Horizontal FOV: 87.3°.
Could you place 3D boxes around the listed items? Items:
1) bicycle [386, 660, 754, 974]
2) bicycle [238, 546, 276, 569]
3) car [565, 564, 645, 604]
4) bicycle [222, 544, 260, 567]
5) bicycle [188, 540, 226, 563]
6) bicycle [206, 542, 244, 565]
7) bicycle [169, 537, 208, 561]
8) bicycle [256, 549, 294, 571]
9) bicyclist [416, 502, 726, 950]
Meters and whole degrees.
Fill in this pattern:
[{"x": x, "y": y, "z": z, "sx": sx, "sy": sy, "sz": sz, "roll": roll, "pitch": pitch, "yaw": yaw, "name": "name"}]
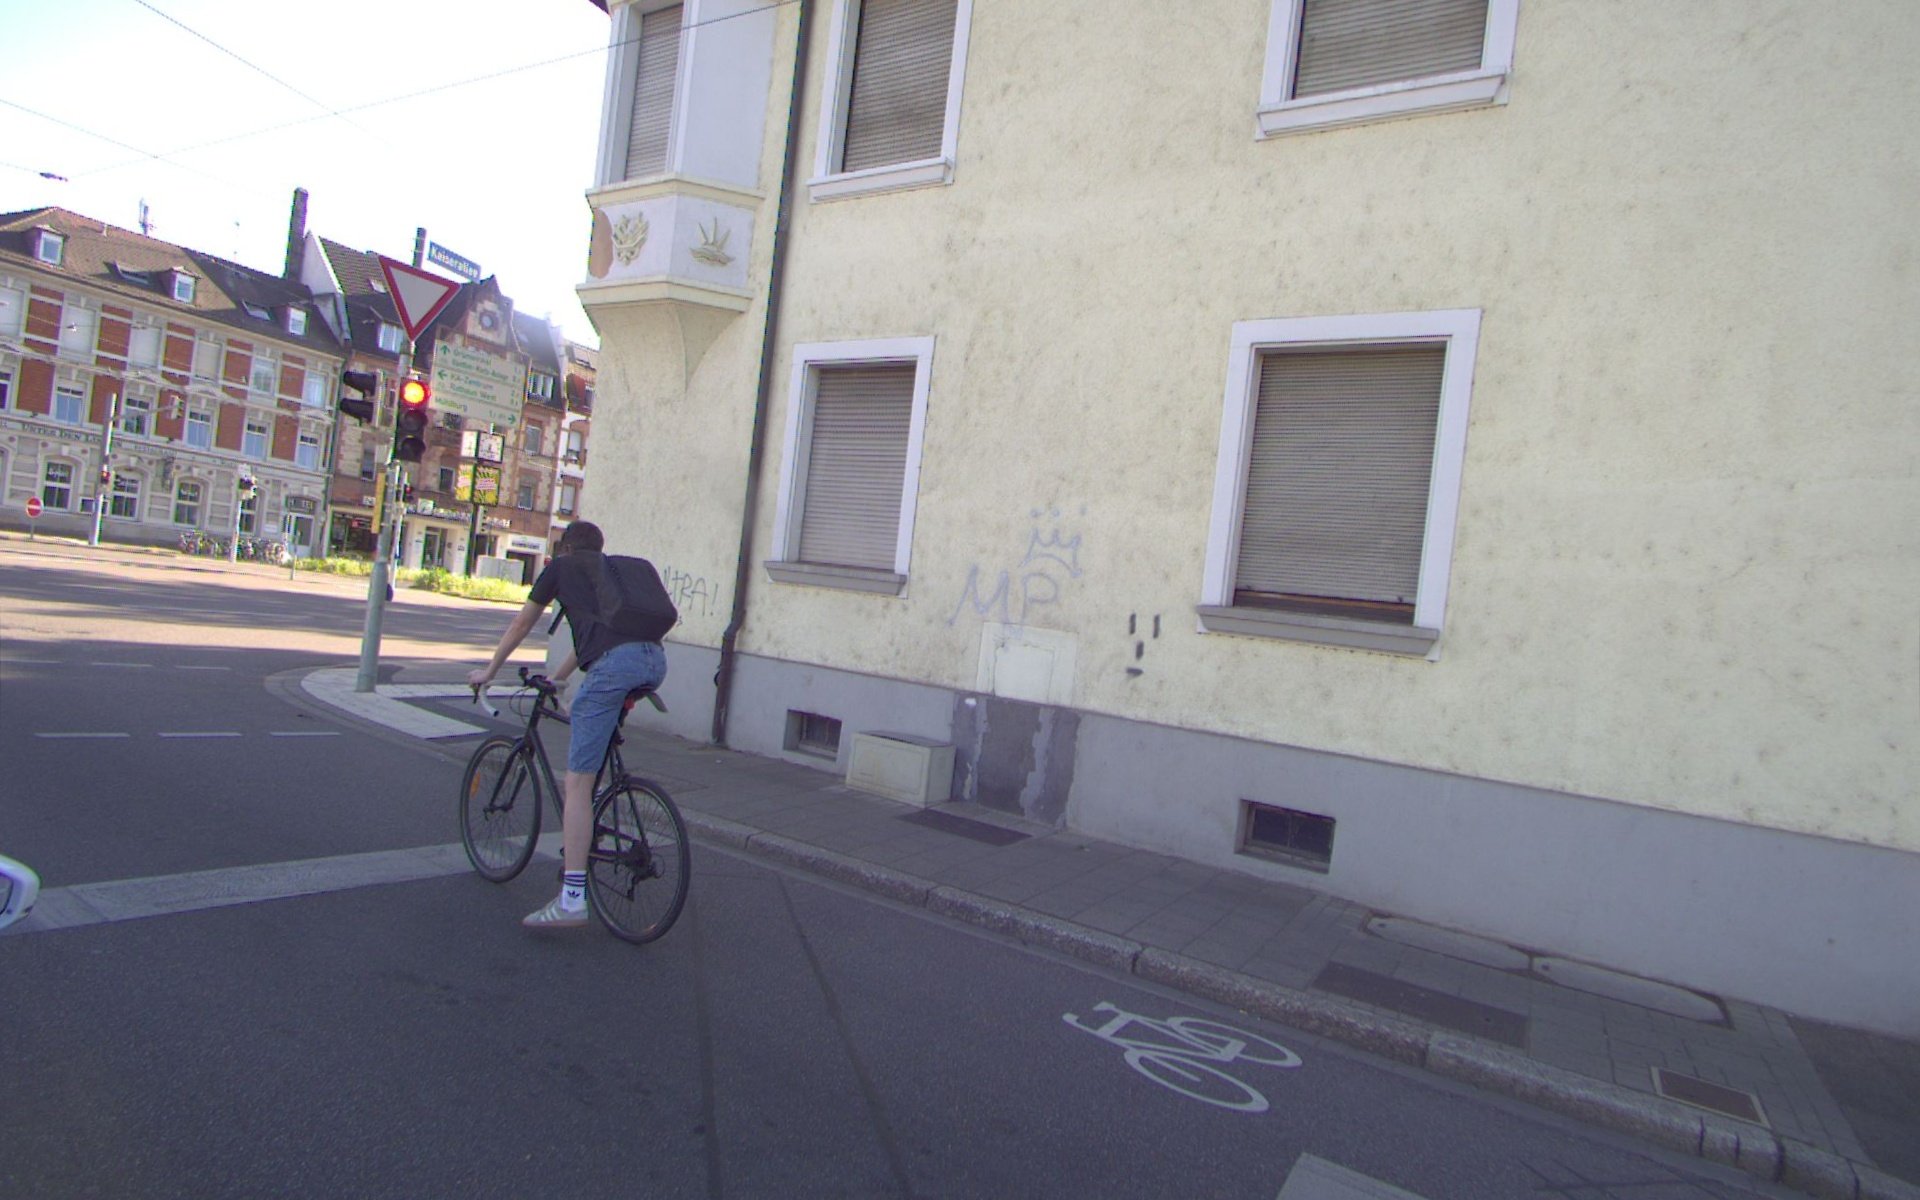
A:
[{"x": -1.793, "y": 0.875, "z": 4.510, "sx": 1.721, "sy": 0.982, "sz": 0.519, "roll": 7, "pitch": 0, "yaw": 32, "name": "bicycle"}, {"x": -33.491, "y": -2.027, "z": 47.896, "sx": 2.125, "sy": 0.850, "sz": 0.659, "roll": 6, "pitch": -2, "yaw": 33, "name": "bicycle"}, {"x": -23.012, "y": -1.006, "z": 65.327, "sx": 1.968, "sy": 2.038, "sz": 4.430, "roll": 7, "pitch": -1, "yaw": 34, "name": "car"}, {"x": -33.847, "y": -2.095, "z": 47.366, "sx": 2.125, "sy": 0.850, "sz": 0.659, "roll": 6, "pitch": -2, "yaw": 33, "name": "bicycle"}, {"x": -34.554, "y": -2.236, "z": 46.148, "sx": 2.125, "sy": 0.850, "sz": 0.659, "roll": 6, "pitch": -2, "yaw": 33, "name": "bicycle"}, {"x": -34.181, "y": -2.162, "z": 46.770, "sx": 2.125, "sy": 0.850, "sz": 0.659, "roll": 6, "pitch": -2, "yaw": 33, "name": "bicycle"}, {"x": -34.870, "y": -2.304, "z": 45.481, "sx": 2.125, "sy": 0.850, "sz": 0.659, "roll": 6, "pitch": -2, "yaw": 33, "name": "bicycle"}, {"x": -33.103, "y": -1.947, "z": 48.601, "sx": 2.125, "sy": 0.850, "sz": 0.659, "roll": 6, "pitch": -2, "yaw": 33, "name": "bicycle"}, {"x": -1.745, "y": 0.491, "z": 4.489, "sx": 1.098, "sy": 1.722, "sz": 0.573, "roll": 7, "pitch": 0, "yaw": 32, "name": "bicyclist"}]
